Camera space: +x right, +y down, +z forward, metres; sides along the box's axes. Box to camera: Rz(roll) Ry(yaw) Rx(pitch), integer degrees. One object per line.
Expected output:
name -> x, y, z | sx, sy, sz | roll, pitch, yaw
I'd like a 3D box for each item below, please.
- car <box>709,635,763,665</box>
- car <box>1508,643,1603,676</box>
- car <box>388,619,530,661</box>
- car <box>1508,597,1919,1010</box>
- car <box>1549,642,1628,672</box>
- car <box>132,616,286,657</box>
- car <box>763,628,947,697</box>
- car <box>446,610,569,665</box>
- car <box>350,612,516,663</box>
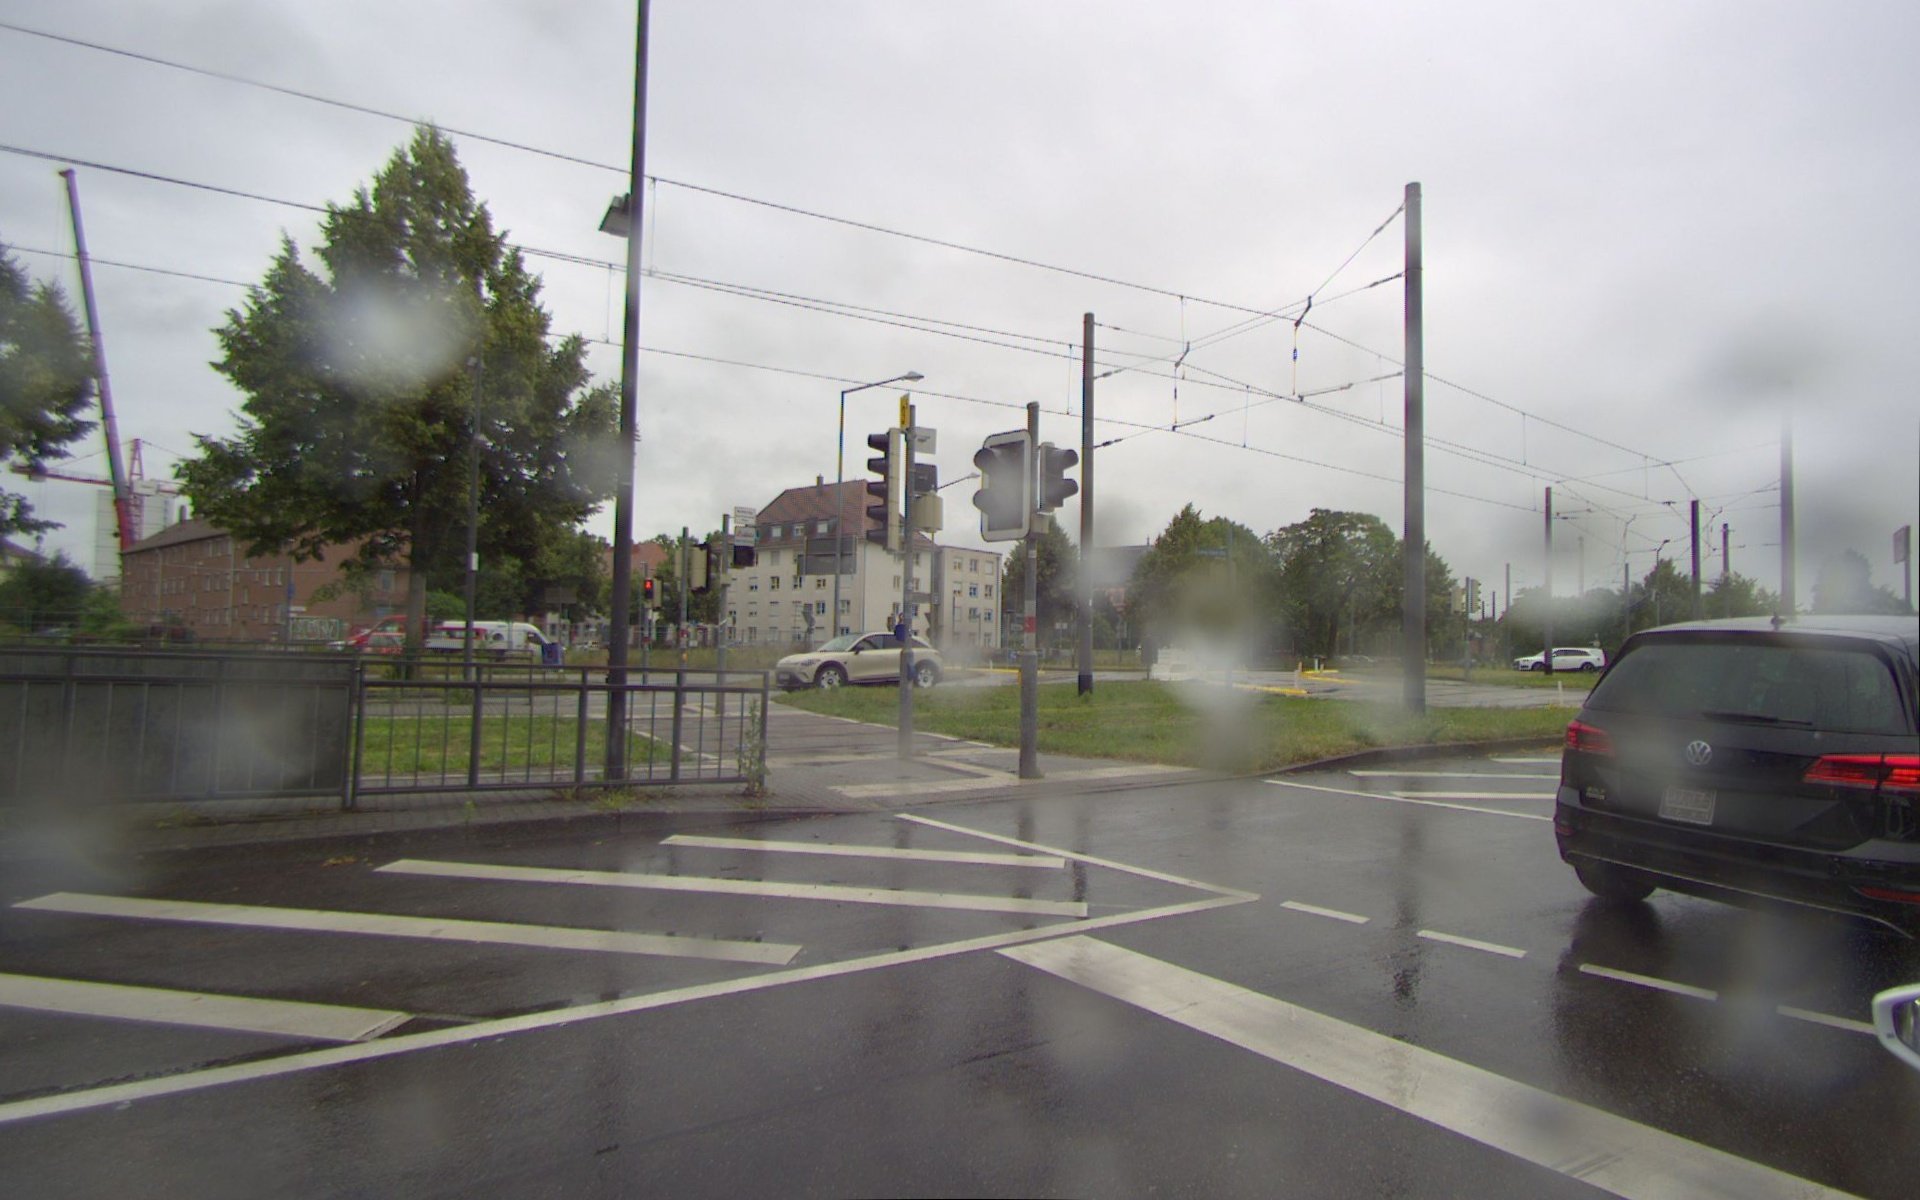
car -> -19.540, 4.343, 87.508 | 4.767, 2.357, 1.991 | 2, -1, 40
car -> 37.347, 3.736, 63.091 | 4.767, 1.767, 1.779 | 2, 0, 7
car -> -25.956, 2.101, 52.356 | 6.329, 2.040, 2.347 | 2, -2, -20
car -> 5.159, 0.853, 5.457 | 4.279, 1.537, 1.776 | 3, -1, -28
car -> 42.059, 3.787, 67.310 | 4.081, 1.746, 1.836 | 2, 0, 10
car -> -40.429, 1.982, 54.217 | 2.325, 2.040, 6.389 | 2, -1, 44
car -> -2.555, 1.527, 24.977 | 4.190, 1.506, 1.831 | 3, -1, -39
car -> -26.698, 2.236, 59.565 | 6.330, 2.978, 2.346 | 3, -1, -20
car -> -23.833, 1.726, 45.798 | 6.330, 2.040, 2.346 | 3, -1, -20
